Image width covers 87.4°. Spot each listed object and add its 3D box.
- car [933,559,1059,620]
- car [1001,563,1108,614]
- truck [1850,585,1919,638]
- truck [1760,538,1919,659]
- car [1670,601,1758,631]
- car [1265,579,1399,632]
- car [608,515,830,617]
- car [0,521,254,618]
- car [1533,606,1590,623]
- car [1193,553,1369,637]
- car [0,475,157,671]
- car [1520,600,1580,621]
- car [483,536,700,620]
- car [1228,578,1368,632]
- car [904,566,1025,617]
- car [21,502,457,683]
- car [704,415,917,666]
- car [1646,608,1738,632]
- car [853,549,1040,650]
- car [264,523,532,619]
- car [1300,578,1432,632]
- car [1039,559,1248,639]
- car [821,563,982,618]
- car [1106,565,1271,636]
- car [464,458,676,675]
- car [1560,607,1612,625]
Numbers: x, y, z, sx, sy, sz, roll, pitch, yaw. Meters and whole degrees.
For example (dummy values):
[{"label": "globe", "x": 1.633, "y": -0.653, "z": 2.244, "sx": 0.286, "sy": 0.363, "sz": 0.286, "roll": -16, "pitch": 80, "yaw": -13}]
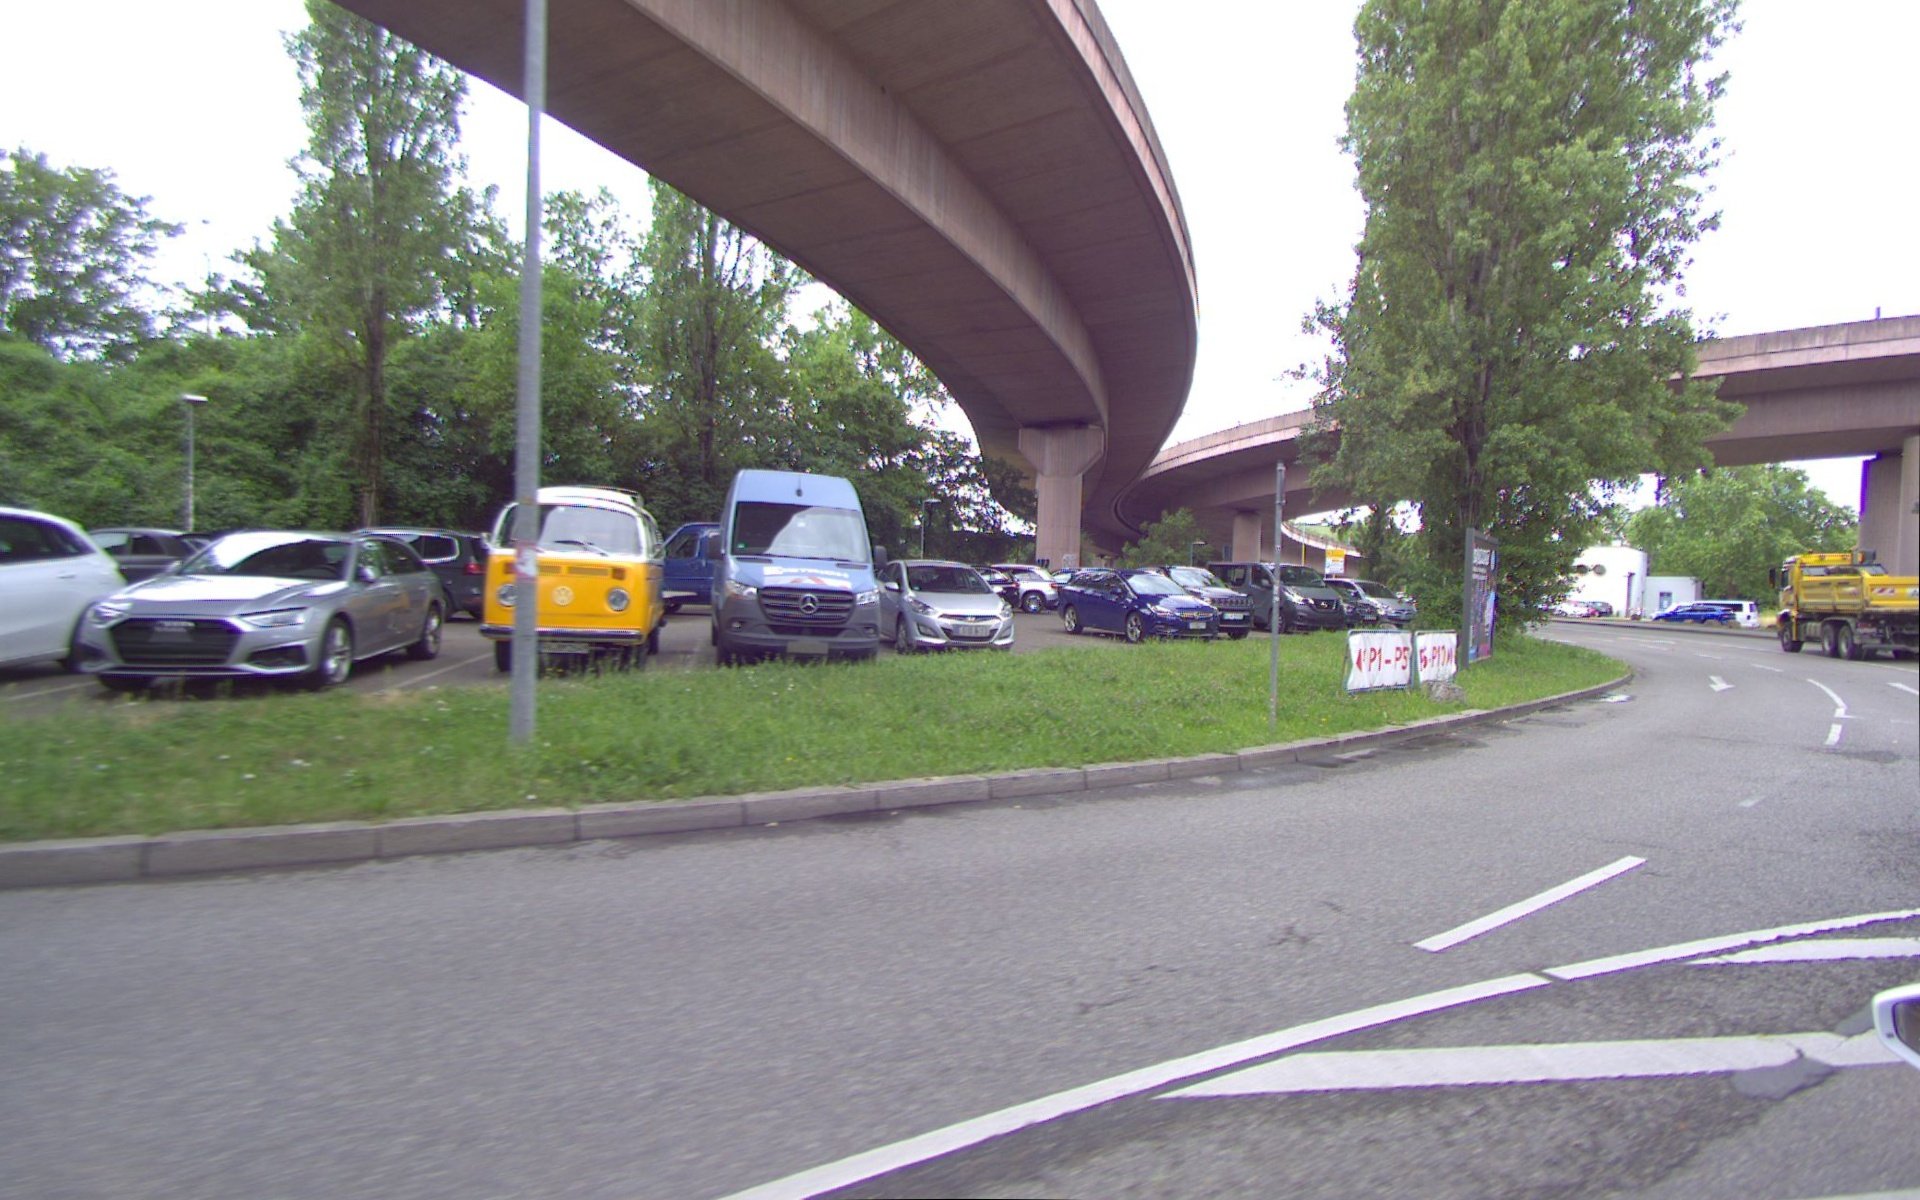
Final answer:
[{"label": "car", "x": 1.240, "y": -0.347, "z": 35.207, "sx": 4.216, "sy": 1.824, "sz": 1.847, "roll": -3, "pitch": -1, "yaw": 1}, {"label": "car", "x": 3.783, "y": -0.477, "z": 40.582, "sx": 4.005, "sy": 1.735, "sz": 1.657, "roll": 4, "pitch": 3, "yaw": -5}, {"label": "truck", "x": 48.034, "y": 0.590, "z": 49.088, "sx": 2.671, "sy": 2.586, "sz": 7.231, "roll": 1, "pitch": 0, "yaw": 1}, {"label": "truck", "x": 29.658, "y": -0.061, "z": 33.186, "sx": 2.880, "sy": 3.528, "sz": 8.240, "roll": 0, "pitch": 0, "yaw": 23}, {"label": "car", "x": 50.225, "y": 1.045, "z": 66.974, "sx": 1.980, "sy": 1.881, "sz": 4.287, "roll": 2, "pitch": -1, "yaw": -34}, {"label": "car", "x": 12.684, "y": 0.230, "z": 34.563, "sx": 1.969, "sy": 1.573, "sz": 4.353, "roll": -1, "pitch": -3, "yaw": -19}, {"label": "car", "x": -5.830, "y": -0.781, "z": 24.837, "sx": 4.920, "sy": 2.284, "sz": 2.124, "roll": 1, "pitch": -1, "yaw": -2}, {"label": "car", "x": -14.248, "y": -0.477, "z": 16.768, "sx": 3.664, "sy": 1.460, "sz": 1.648, "roll": 1, "pitch": -1, "yaw": -5}, {"label": "car", "x": 53.348, "y": 1.252, "z": 89.118, "sx": 1.987, "sy": 1.425, "sz": 3.947, "roll": 2, "pitch": -1, "yaw": -44}, {"label": "car", "x": 9.070, "y": -0.133, "z": 28.955, "sx": 2.224, "sy": 2.099, "sz": 5.085, "roll": 3, "pitch": 0, "yaw": -18}, {"label": "car", "x": -8.883, "y": -0.246, "z": 8.040, "sx": 1.919, "sy": 1.627, "sz": 4.386, "roll": 2, "pitch": 3, "yaw": -9}, {"label": "car", "x": 48.929, "y": 0.894, "z": 83.306, "sx": 3.945, "sy": 1.661, "sz": 1.988, "roll": 0, "pitch": -1, "yaw": 44}, {"label": "car", "x": -8.095, "y": -0.454, "z": 22.338, "sx": 4.071, "sy": 1.698, "sz": 1.902, "roll": 1, "pitch": -1, "yaw": 1}, {"label": "car", "x": 10.717, "y": 0.209, "z": 32.178, "sx": 1.785, "sy": 1.503, "sz": 4.428, "roll": 0, "pitch": -3, "yaw": -22}, {"label": "car", "x": 0.143, "y": -0.259, "z": 32.704, "sx": 3.811, "sy": 1.494, "sz": 1.794, "roll": 2, "pitch": 0, "yaw": 0}, {"label": "car", "x": -6.746, "y": -0.139, "z": 10.090, "sx": 1.965, "sy": 1.390, "sz": 4.247, "roll": 2, "pitch": 3, "yaw": -12}, {"label": "car", "x": -2.366, "y": -0.728, "z": 14.421, "sx": 2.327, "sy": 2.761, "sz": 6.178, "roll": 1, "pitch": 1, "yaw": -13}, {"label": "car", "x": 47.340, "y": 1.284, "z": 65.028, "sx": 1.979, "sy": 1.461, "sz": 4.417, "roll": 2, "pitch": -1, "yaw": -33}, {"label": "car", "x": -0.385, "y": 0.012, "z": 16.888, "sx": 1.968, "sy": 1.434, "sz": 4.276, "roll": 2, "pitch": -1, "yaw": -18}, {"label": "car", "x": -10.724, "y": -0.522, "z": 19.366, "sx": 4.071, "sy": 1.698, "sz": 1.902, "roll": 1, "pitch": -1, "yaw": 3}, {"label": "car", "x": 14.646, "y": 0.185, "z": 36.513, "sx": 1.986, "sy": 1.814, "sz": 4.379, "roll": 1, "pitch": -1, "yaw": -21}, {"label": "car", "x": 3.776, "y": -0.005, "z": 21.687, "sx": 2.049, "sy": 1.508, "sz": 4.824, "roll": 1, "pitch": -1, "yaw": -25}, {"label": "car", "x": -1.650, "y": -0.248, "z": 29.627, "sx": 4.553, "sy": 1.454, "sz": 2.001, "roll": 1, "pitch": -1, "yaw": 1}, {"label": "car", "x": 5.380, "y": 0.031, "z": 24.319, "sx": 1.867, "sy": 1.532, "sz": 4.432, "roll": 1, "pitch": -1, "yaw": -18}, {"label": "car", "x": -4.571, "y": -0.379, "z": 12.424, "sx": 1.819, "sy": 2.139, "sz": 4.557, "roll": 2, "pitch": 1, "yaw": -14}, {"label": "car", "x": 60.752, "y": 1.570, "z": 97.526, "sx": 1.843, "sy": 1.567, "sz": 3.949, "roll": 5, "pitch": -3, "yaw": -43}]
